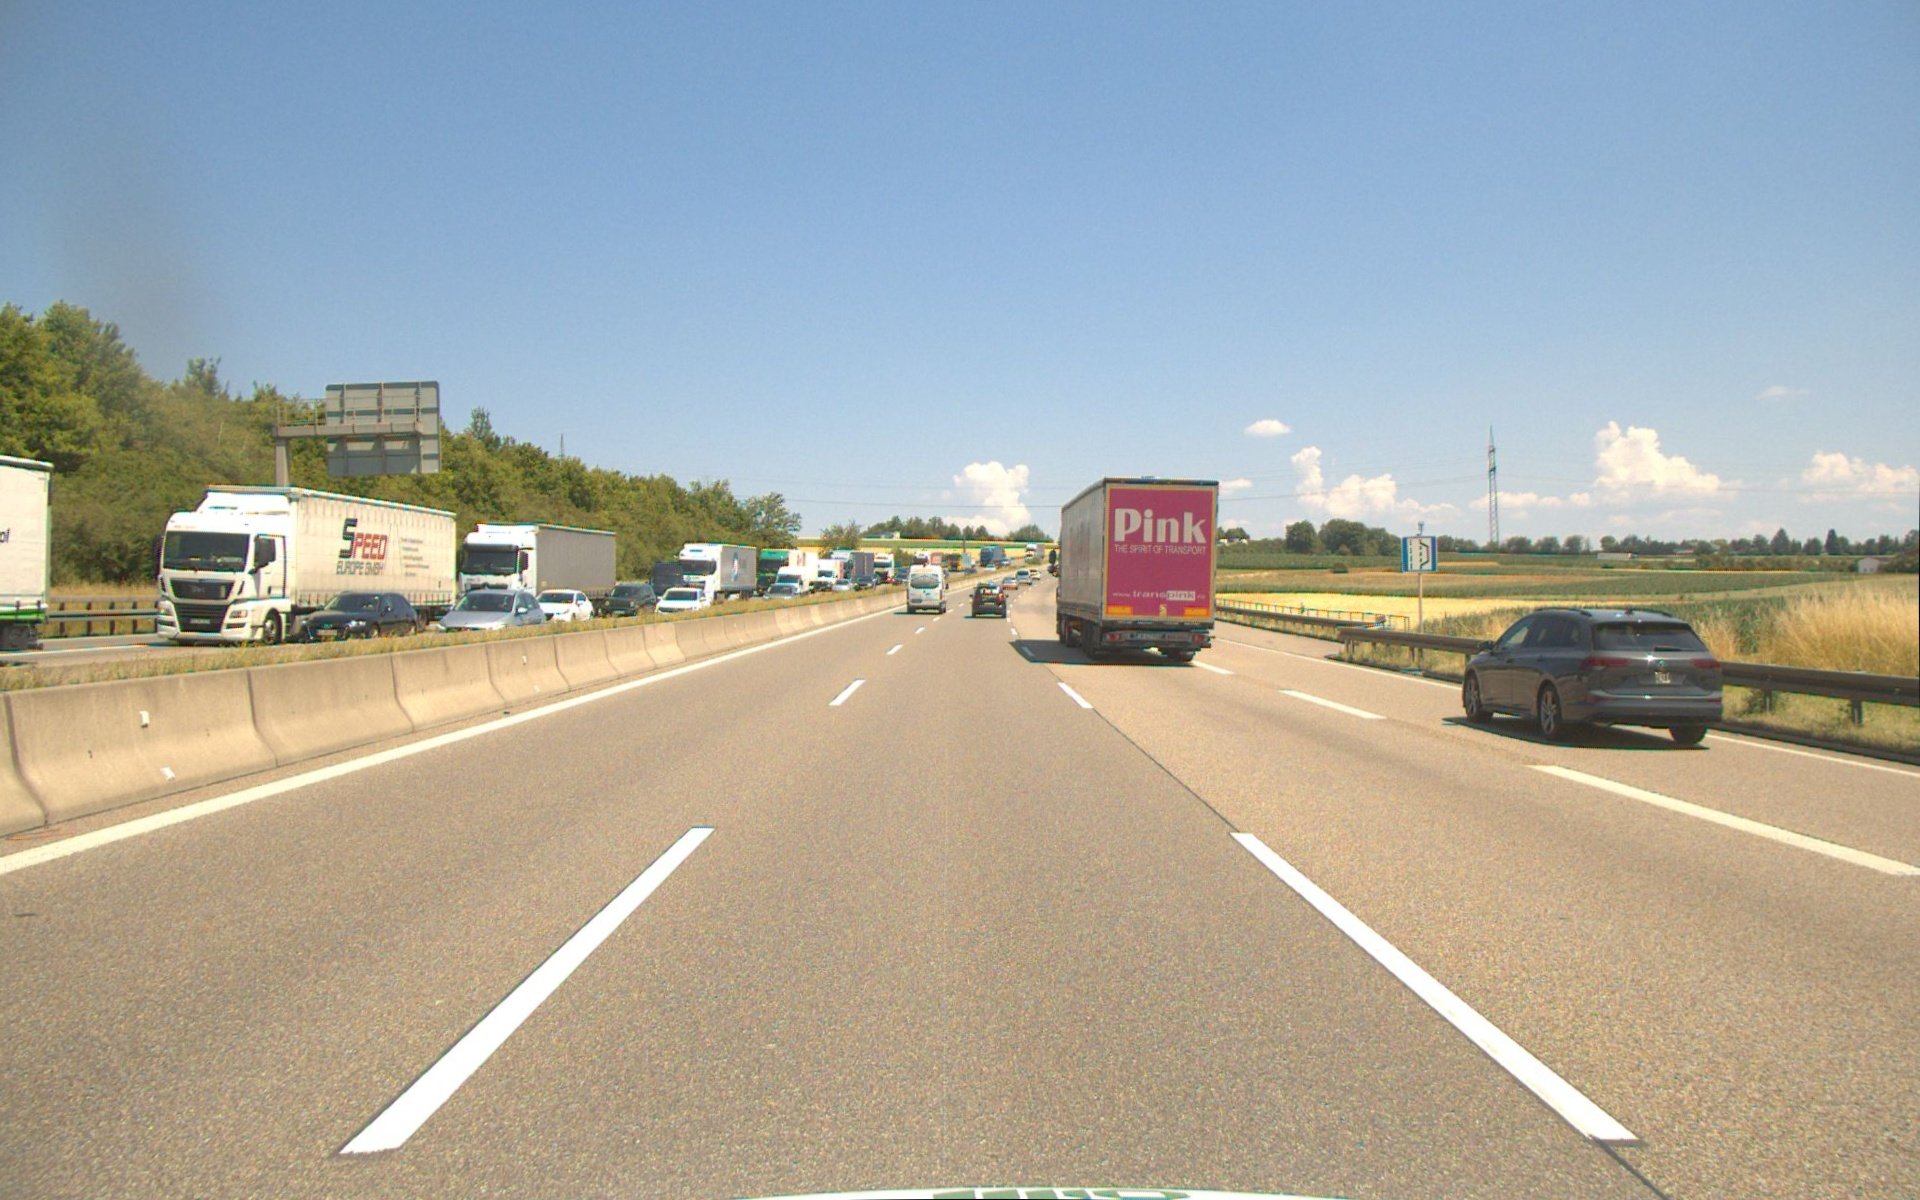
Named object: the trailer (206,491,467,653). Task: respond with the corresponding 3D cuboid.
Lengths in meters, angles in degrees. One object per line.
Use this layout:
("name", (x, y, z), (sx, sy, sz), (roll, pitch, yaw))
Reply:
("trailer", (-18.986, -0.811, 51.806), (2.753, 4.353, 13.869), (1, 0, 0))

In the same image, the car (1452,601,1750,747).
("car", (7.365, 0.798, 19.527), (1.725, 1.497, 4.535), (1, -1, 0))

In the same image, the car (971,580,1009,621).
("car", (1.483, -0.004, 83.699), (1.809, 1.893, 4.206), (0, 3, 0))

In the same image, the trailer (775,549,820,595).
("trailer", (-15.281, -2.685, 156.348), (2.859, 4.142, 8.235), (-1, 1, 4))

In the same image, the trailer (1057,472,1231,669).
("trailer", (4.368, -0.743, 42.494), (2.859, 4.189, 13.858), (1, 1, 0))

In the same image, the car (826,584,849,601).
("car", (-11.572, -0.728, 156.682), (1.715, 1.486, 4.859), (1, -1, 2))

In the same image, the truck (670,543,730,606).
("truck", (-17.505, -1.708, 111.853), (2.794, 4.107, 6.606), (0, 1, 2))

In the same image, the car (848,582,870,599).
("car", (-10.472, -0.995, 171.700), (1.822, 1.670, 5.115), (0, -1, 2))

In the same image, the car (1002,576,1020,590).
("car", (5.615, -1.876, 182.461), (1.952, 1.612, 4.001), (0, 0, 2))

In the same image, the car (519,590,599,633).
("car", (-14.610, 0.411, 60.491), (1.842, 1.500, 4.406), (0, -1, 0))

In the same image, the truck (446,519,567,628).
("truck", (-18.671, -1.056, 68.497), (2.900, 4.283, 6.606), (1, 0, 2))

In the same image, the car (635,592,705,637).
("car", (-11.245, 0.562, 64.437), (1.953, 1.672, 4.406), (0, -1, 0))

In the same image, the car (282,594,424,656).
("car", (-15.501, 0.609, 42.529), (1.838, 1.459, 4.924), (1, 0, 0))

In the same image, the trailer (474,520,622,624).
("trailer", (-18.521, -1.188, 75.606), (2.920, 4.280, 14.195), (1, 0, 1))

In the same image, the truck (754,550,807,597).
("truck", (-15.870, -2.403, 146.757), (2.783, 3.966, 11.253), (-1, 1, 3))

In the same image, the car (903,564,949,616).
("car", (-1.835, -0.508, 89.729), (2.134, 2.671, 4.674), (1, -1, 3))

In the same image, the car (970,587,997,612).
("car", (1.736, -0.035, 122.615), (1.952, 1.780, 4.000), (1, -1, 1))

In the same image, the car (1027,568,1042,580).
("car", (10.830, -3.716, 239.485), (1.951, 1.578, 4.004), (2, 3, 5))

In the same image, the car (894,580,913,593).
("car", (-6.968, -1.628, 203.907), (1.952, 1.572, 5.497), (0, 1, 3))

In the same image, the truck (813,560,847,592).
("truck", (-13.482, -2.516, 172.145), (2.485, 3.263, 7.593), (0, 1, 3))

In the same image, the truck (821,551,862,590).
("truck", (-13.189, -3.327, 185.429), (2.938, 4.307, 10.741), (0, 1, 5))

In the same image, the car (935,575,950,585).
("car", (-2.657, -3.076, 251.287), (1.951, 1.480, 5.173), (0, 1, 4))

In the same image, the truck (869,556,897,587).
("truck", (-10.159, -3.810, 218.291), (2.840, 3.944, 6.182), (1, 1, 5))

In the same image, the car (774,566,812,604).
("car", (-12.934, -1.135, 128.682), (2.095, 2.835, 6.626), (1, -1, 1))

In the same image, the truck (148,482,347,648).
("truck", (-19.027, -0.907, 44.581), (2.699, 4.113, 6.099), (1, 0, 0))

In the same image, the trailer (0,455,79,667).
("trailer", (-19.214, -0.715, 26.374), (2.843, 3.941, 13.877), (0, 0, 0))

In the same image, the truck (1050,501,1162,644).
("truck", (4.386, -0.844, 51.035), (2.856, 4.078, 6.511), (1, 1, 0))

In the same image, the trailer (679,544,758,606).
("trailer", (-17.212, -1.807, 119.029), (2.842, 4.157, 14.451), (0, 1, 3))

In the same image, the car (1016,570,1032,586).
("car", (7.953, -2.761, 206.510), (1.952, 1.937, 4.001), (0, -1, 1))

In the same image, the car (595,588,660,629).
("car", (-14.877, 0.366, 74.242), (1.952, 1.745, 4.792), (0, 0, 0))

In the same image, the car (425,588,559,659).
("car", (-11.271, 0.529, 40.163), (1.953, 1.606, 4.595), (0, 0, 0))
